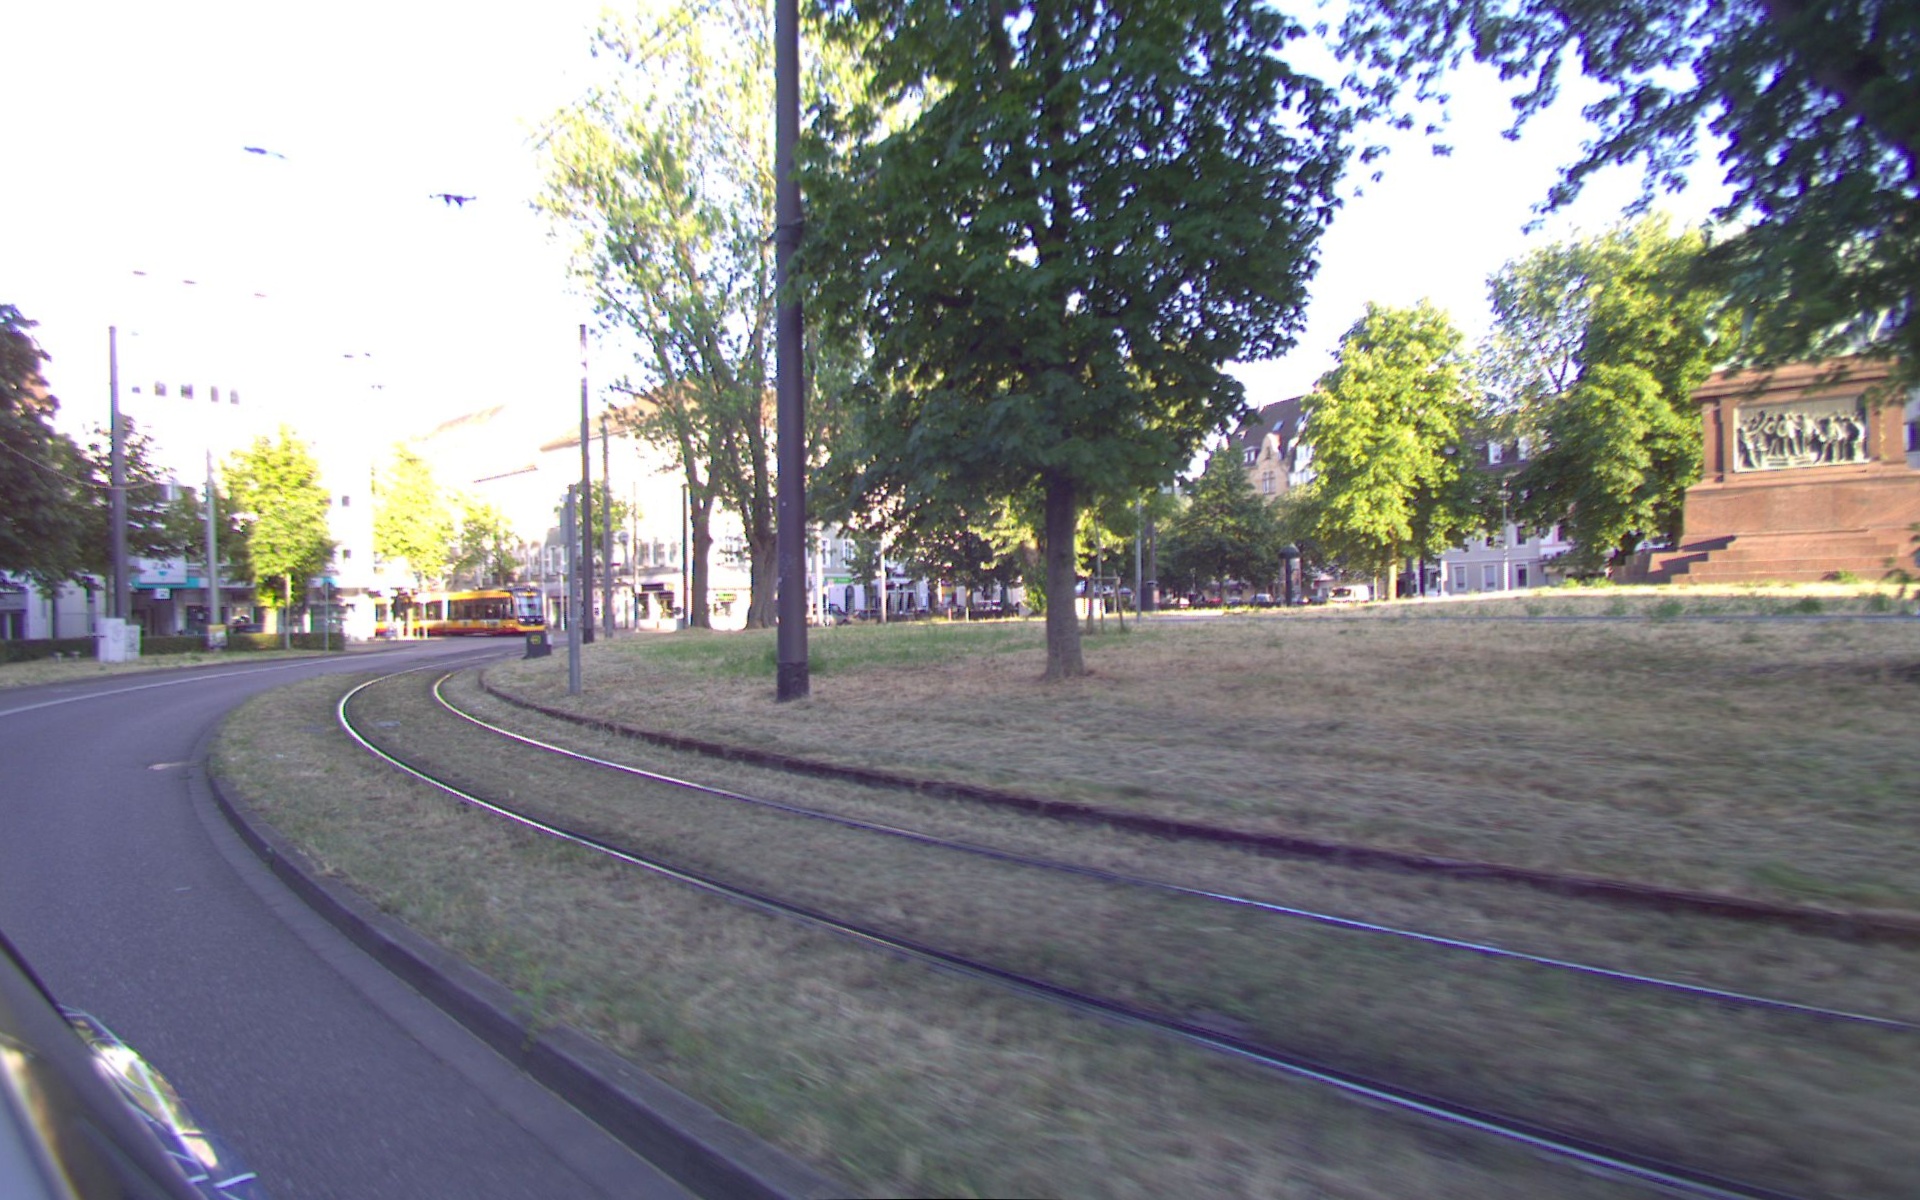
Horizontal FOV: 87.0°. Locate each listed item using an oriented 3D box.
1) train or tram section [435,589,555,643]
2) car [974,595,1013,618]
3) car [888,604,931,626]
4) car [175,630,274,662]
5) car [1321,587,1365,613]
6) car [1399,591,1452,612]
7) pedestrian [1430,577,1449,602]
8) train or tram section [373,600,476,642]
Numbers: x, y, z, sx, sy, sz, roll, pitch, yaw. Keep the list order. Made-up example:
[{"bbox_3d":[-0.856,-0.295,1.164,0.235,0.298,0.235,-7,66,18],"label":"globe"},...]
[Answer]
[{"bbox_3d":[-34.180,1.165,73.946,13.364,3.611,2.909,-1,0,42],"label":"train or tram section"},{"bbox_3d":[3.285,0.620,97.725,1.856,2.014,3.952,0,3,36],"label":"car"},{"bbox_3d":[-4.704,1.430,94.823,1.996,1.918,3.951,-3,-2,36],"label":"car"},{"bbox_3d":[-39.542,2.465,54.499,1.846,1.461,3.949,-3,-1,38],"label":"car"},{"bbox_3d":[31.646,-0.029,83.502,2.000,2.029,3.943,-3,-2,43],"label":"car"},{"bbox_3d":[40.835,0.148,88.882,1.766,1.592,4.013,-2,-1,-24],"label":"car"},{"bbox_3d":[33.381,-0.742,70.476,0.786,1.714,0.803,-1,-2,-25],"label":"pedestrian"},{"bbox_3d":[-43.880,1.717,82.617,12.847,3.165,2.893,-1,0,40],"label":"train or tram section"}]
